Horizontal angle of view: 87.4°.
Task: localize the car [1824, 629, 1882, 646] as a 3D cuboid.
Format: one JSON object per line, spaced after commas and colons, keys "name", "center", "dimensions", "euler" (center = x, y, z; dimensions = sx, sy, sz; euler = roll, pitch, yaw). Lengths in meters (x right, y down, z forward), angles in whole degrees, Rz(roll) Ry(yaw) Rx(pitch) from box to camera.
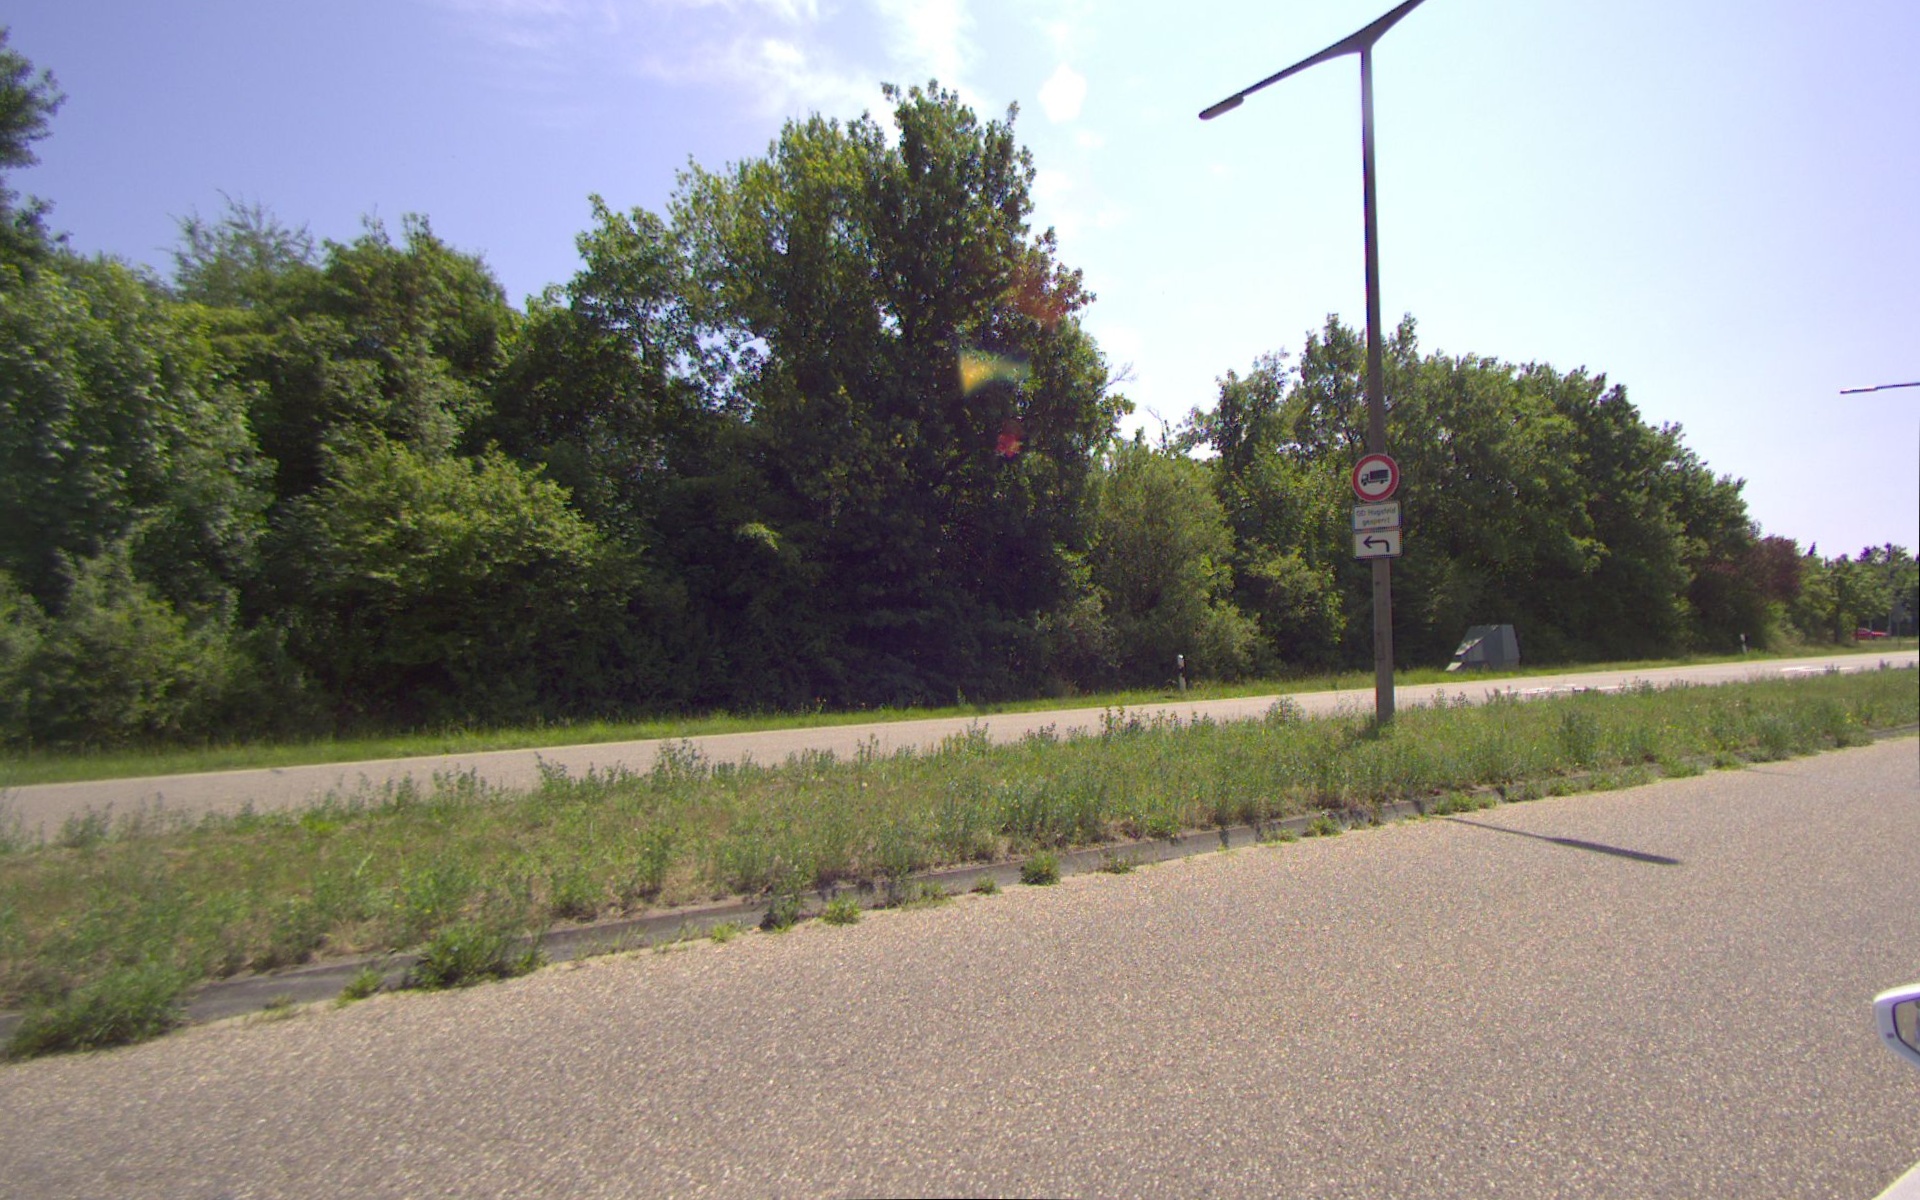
{"name": "car", "center": [93.848, 3.914, 105.583], "dimensions": [1.964, 1.663, 4.480], "euler": [1, -1, -43]}
